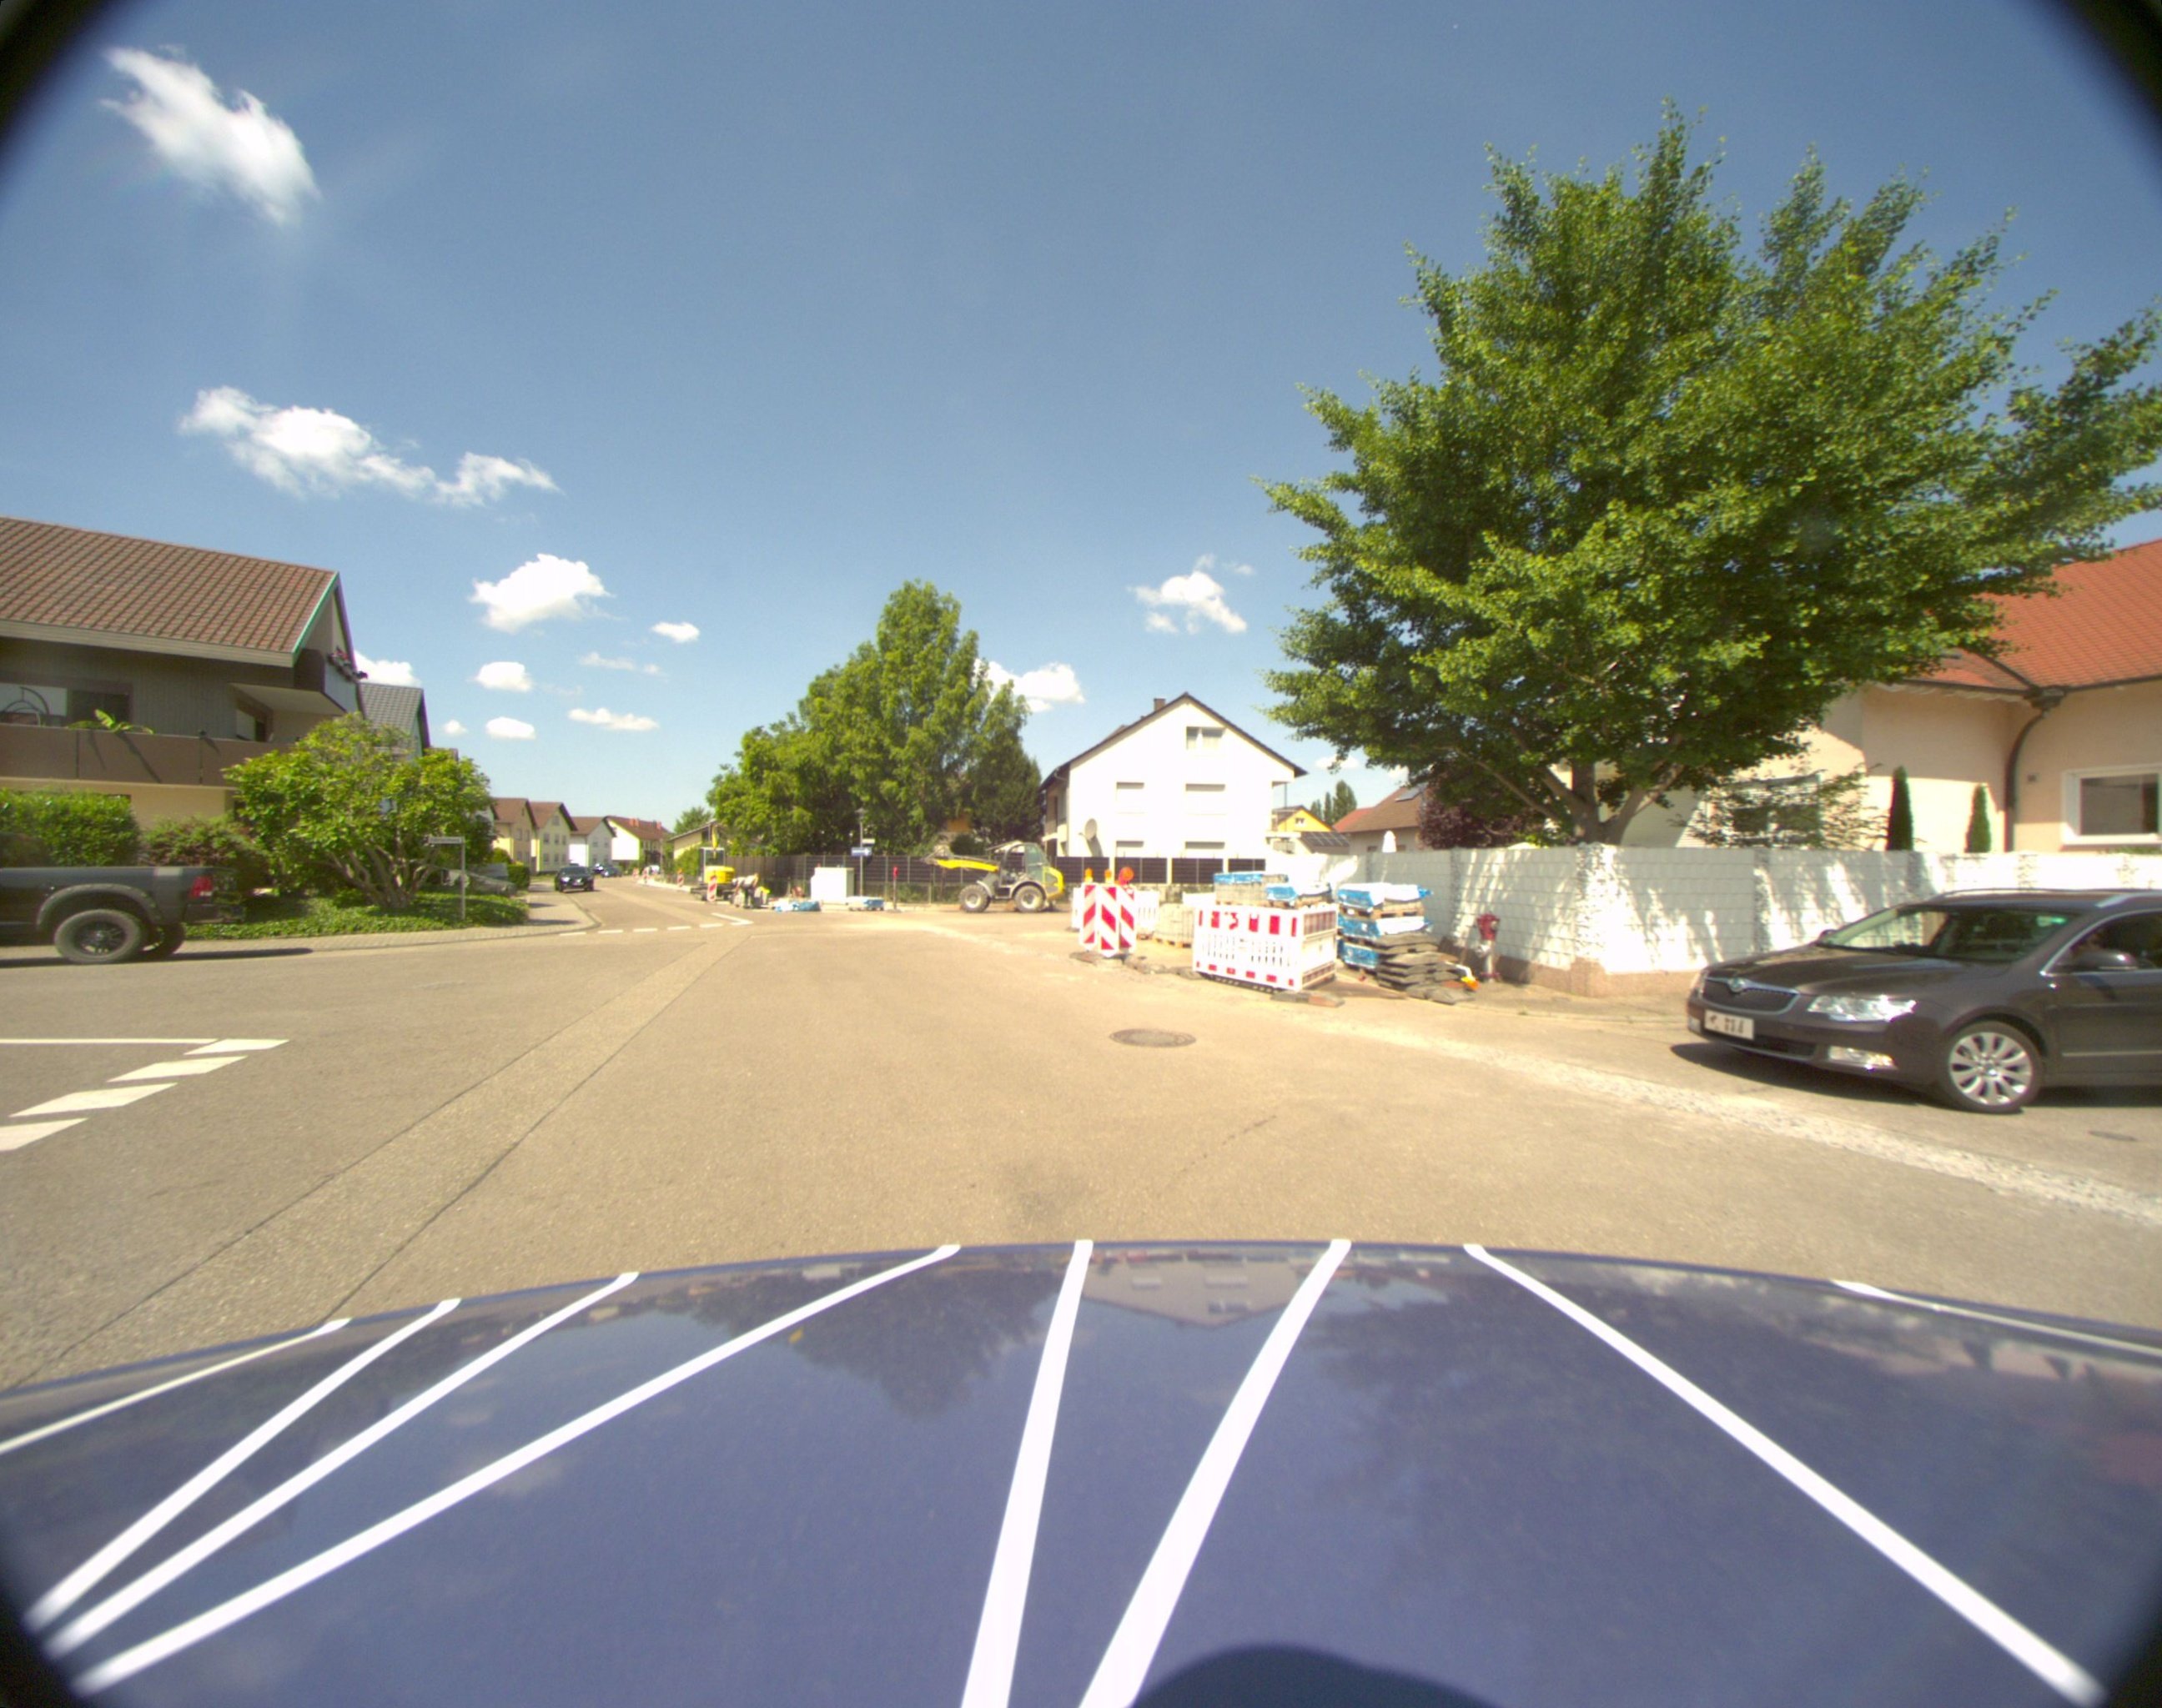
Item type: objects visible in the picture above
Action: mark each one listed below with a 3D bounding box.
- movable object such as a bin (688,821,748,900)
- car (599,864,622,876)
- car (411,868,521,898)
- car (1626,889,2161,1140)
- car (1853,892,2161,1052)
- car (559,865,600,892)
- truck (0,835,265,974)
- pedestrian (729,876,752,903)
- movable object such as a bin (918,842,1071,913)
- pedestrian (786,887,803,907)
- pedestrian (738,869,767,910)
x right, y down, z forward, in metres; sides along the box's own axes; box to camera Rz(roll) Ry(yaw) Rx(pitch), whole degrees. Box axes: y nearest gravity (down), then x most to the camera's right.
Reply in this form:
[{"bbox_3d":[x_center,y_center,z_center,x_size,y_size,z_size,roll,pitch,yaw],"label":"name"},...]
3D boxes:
[{"bbox_3d":[-17.421,0.323,36.370,2.004,3.544,3.805,0,0,-35],"label":"movable object such as a bin"},{"bbox_3d":[-65.753,2.238,106.218,2.002,1.640,3.993,0,0,-21],"label":"car"},{"bbox_3d":[-29.445,1.355,36.556,4.008,1.334,1.995,1,-1,-37],"label":"car"},{"bbox_3d":[7.108,1.141,5.820,4.708,1.525,1.787,2,-4,-4],"label":"car"},{"bbox_3d":[11.452,1.223,8.780,4.038,1.522,1.717,0,-4,-15],"label":"car"},{"bbox_3d":[-31.162,1.487,47.176,1.924,1.533,3.989,0,0,-37],"label":"car"},{"bbox_3d":[-16.772,0.821,11.482,5.724,2.000,2.366,1,-5,-38],"label":"truck"},{"bbox_3d":[-15.110,1.579,33.712,0.511,1.162,0.826,0,0,13],"label":"pedestrian"},{"bbox_3d":[-3.034,0.841,27.223,5.230,2.437,2.000,0,-2,-4],"label":"movable object such as a bin"},{"bbox_3d":[-11.726,1.775,31.115,0.431,0.788,0.523,0,0,18],"label":"pedestrian"},{"bbox_3d":[-12.243,1.307,28.341,0.531,1.505,0.852,0,0,28],"label":"pedestrian"}]
